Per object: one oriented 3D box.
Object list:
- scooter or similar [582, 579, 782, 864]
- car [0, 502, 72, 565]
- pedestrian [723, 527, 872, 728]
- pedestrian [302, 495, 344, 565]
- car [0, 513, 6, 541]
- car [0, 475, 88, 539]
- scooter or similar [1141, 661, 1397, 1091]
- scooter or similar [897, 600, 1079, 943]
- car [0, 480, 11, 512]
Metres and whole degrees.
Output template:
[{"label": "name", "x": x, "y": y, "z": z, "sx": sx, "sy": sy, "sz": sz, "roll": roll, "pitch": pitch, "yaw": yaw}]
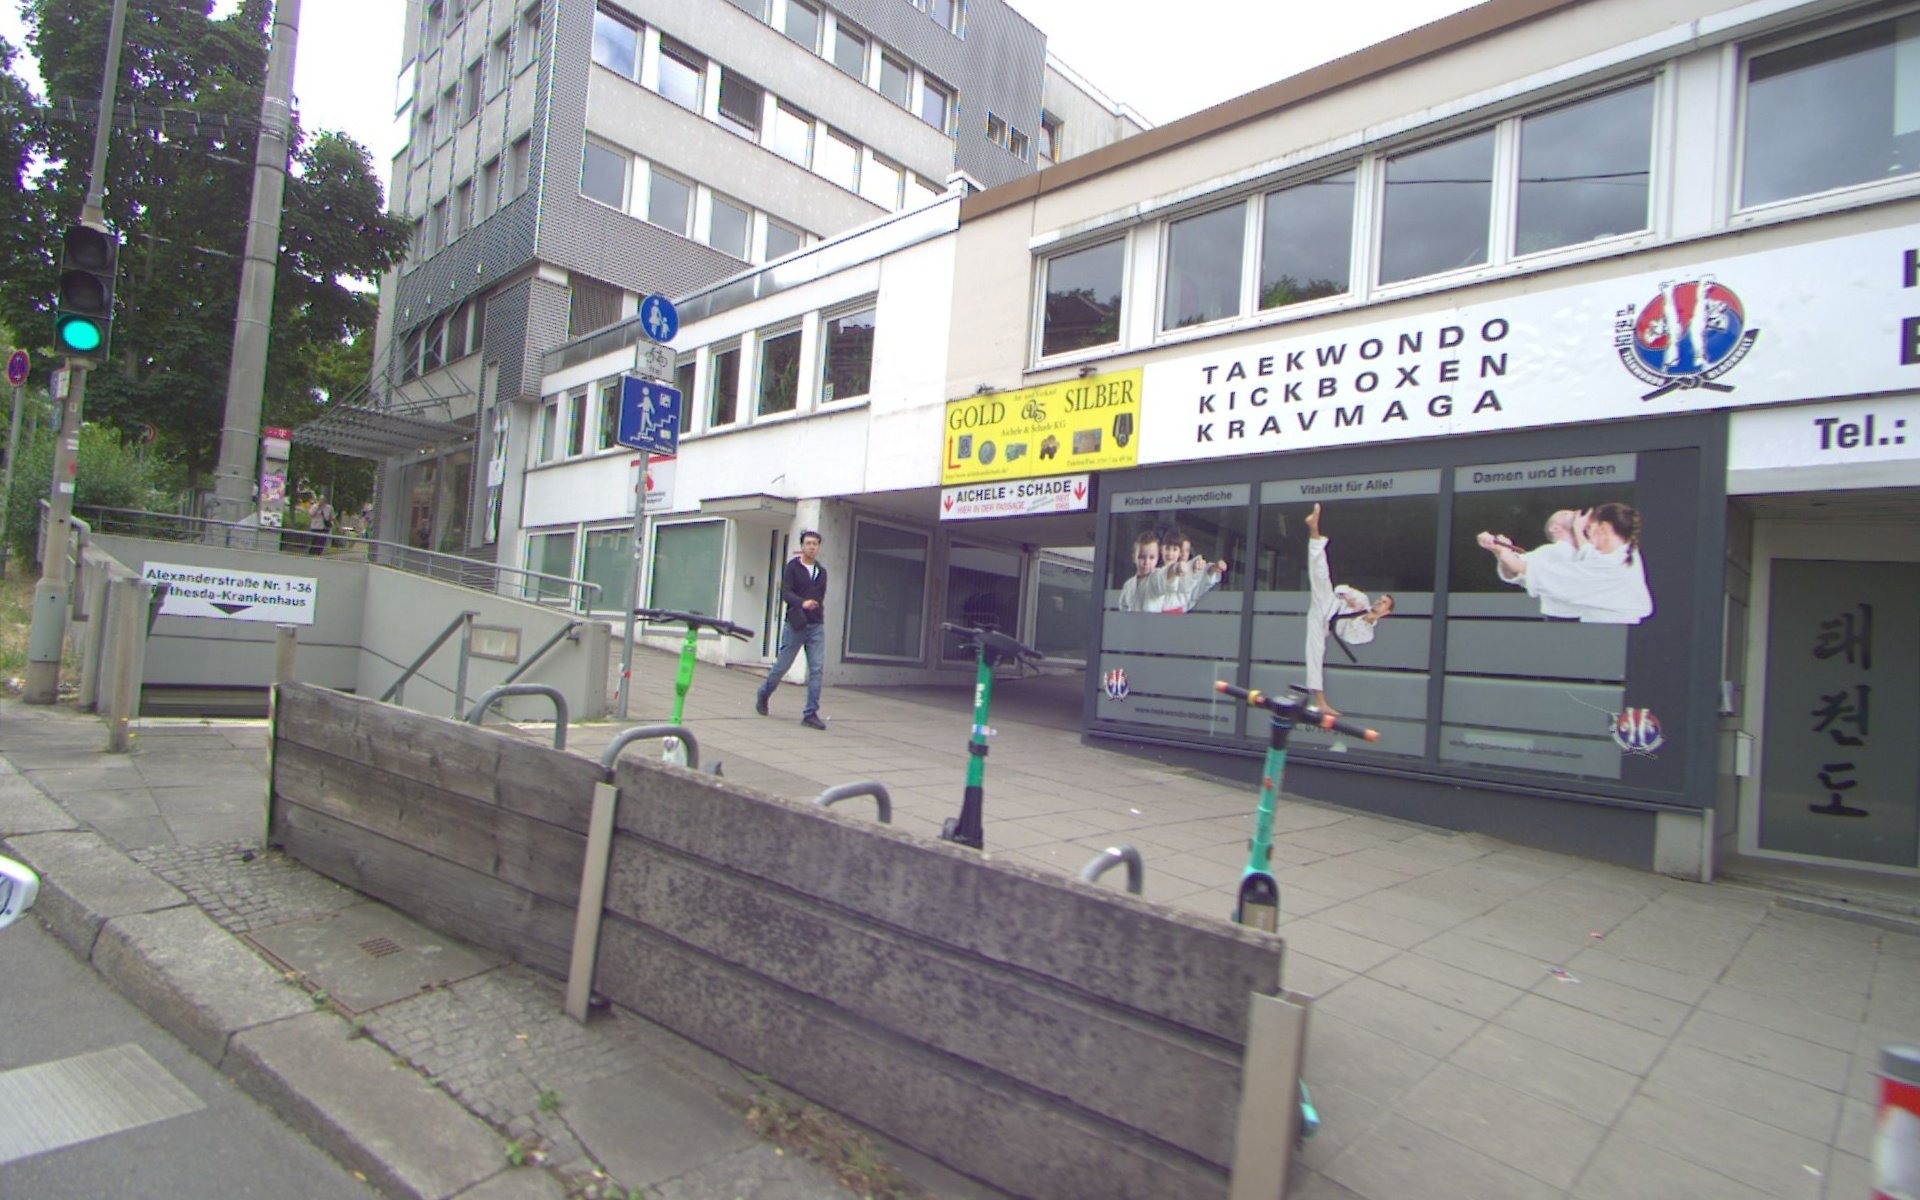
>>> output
[{"label": "scooter or similar", "x": -1.357, "y": 0.558, "z": 5.174, "sx": 0.572, "sy": 1.196, "sz": 1.445, "roll": 7, "pitch": -1, "yaw": -4}, {"label": "car", "x": -28.048, "y": -1.984, "z": 29.842, "sx": 1.893, "sy": 1.591, "sz": 3.802, "roll": 10, "pitch": -4, "yaw": -34}, {"label": "pedestrian", "x": -1.609, "y": 0.252, "z": 9.877, "sx": 0.830, "sy": 1.833, "sz": 1.138, "roll": 5, "pitch": 1, "yaw": -41}, {"label": "pedestrian", "x": -17.611, "y": -1.942, "z": 27.805, "sx": 0.601, "sy": 1.816, "sz": 0.672, "roll": 7, "pitch": 0, "yaw": 44}, {"label": "car", "x": -55.521, "y": -4.757, "z": 56.160, "sx": 1.804, "sy": 1.458, "sz": 4.943, "roll": 8, "pitch": -16, "yaw": -26}, {"label": "car", "x": -30.832, "y": -3.080, "z": 33.509, "sx": 1.825, "sy": 1.760, "sz": 3.970, "roll": 7, "pitch": -1, "yaw": -30}, {"label": "scooter or similar", "x": 1.005, "y": 0.847, "z": 3.474, "sx": 0.370, "sy": 1.196, "sz": 1.011, "roll": 7, "pitch": -1, "yaw": -4}, {"label": "scooter or similar", "x": 0.065, "y": 0.669, "z": 4.607, "sx": 0.547, "sy": 1.269, "sz": 1.444, "roll": 7, "pitch": 0, "yaw": -4}, {"label": "car", "x": -55.368, "y": -6.018, "z": 56.389, "sx": 1.862, "sy": 1.810, "sz": 4.486, "roll": 5, "pitch": 0, "yaw": -27}]
